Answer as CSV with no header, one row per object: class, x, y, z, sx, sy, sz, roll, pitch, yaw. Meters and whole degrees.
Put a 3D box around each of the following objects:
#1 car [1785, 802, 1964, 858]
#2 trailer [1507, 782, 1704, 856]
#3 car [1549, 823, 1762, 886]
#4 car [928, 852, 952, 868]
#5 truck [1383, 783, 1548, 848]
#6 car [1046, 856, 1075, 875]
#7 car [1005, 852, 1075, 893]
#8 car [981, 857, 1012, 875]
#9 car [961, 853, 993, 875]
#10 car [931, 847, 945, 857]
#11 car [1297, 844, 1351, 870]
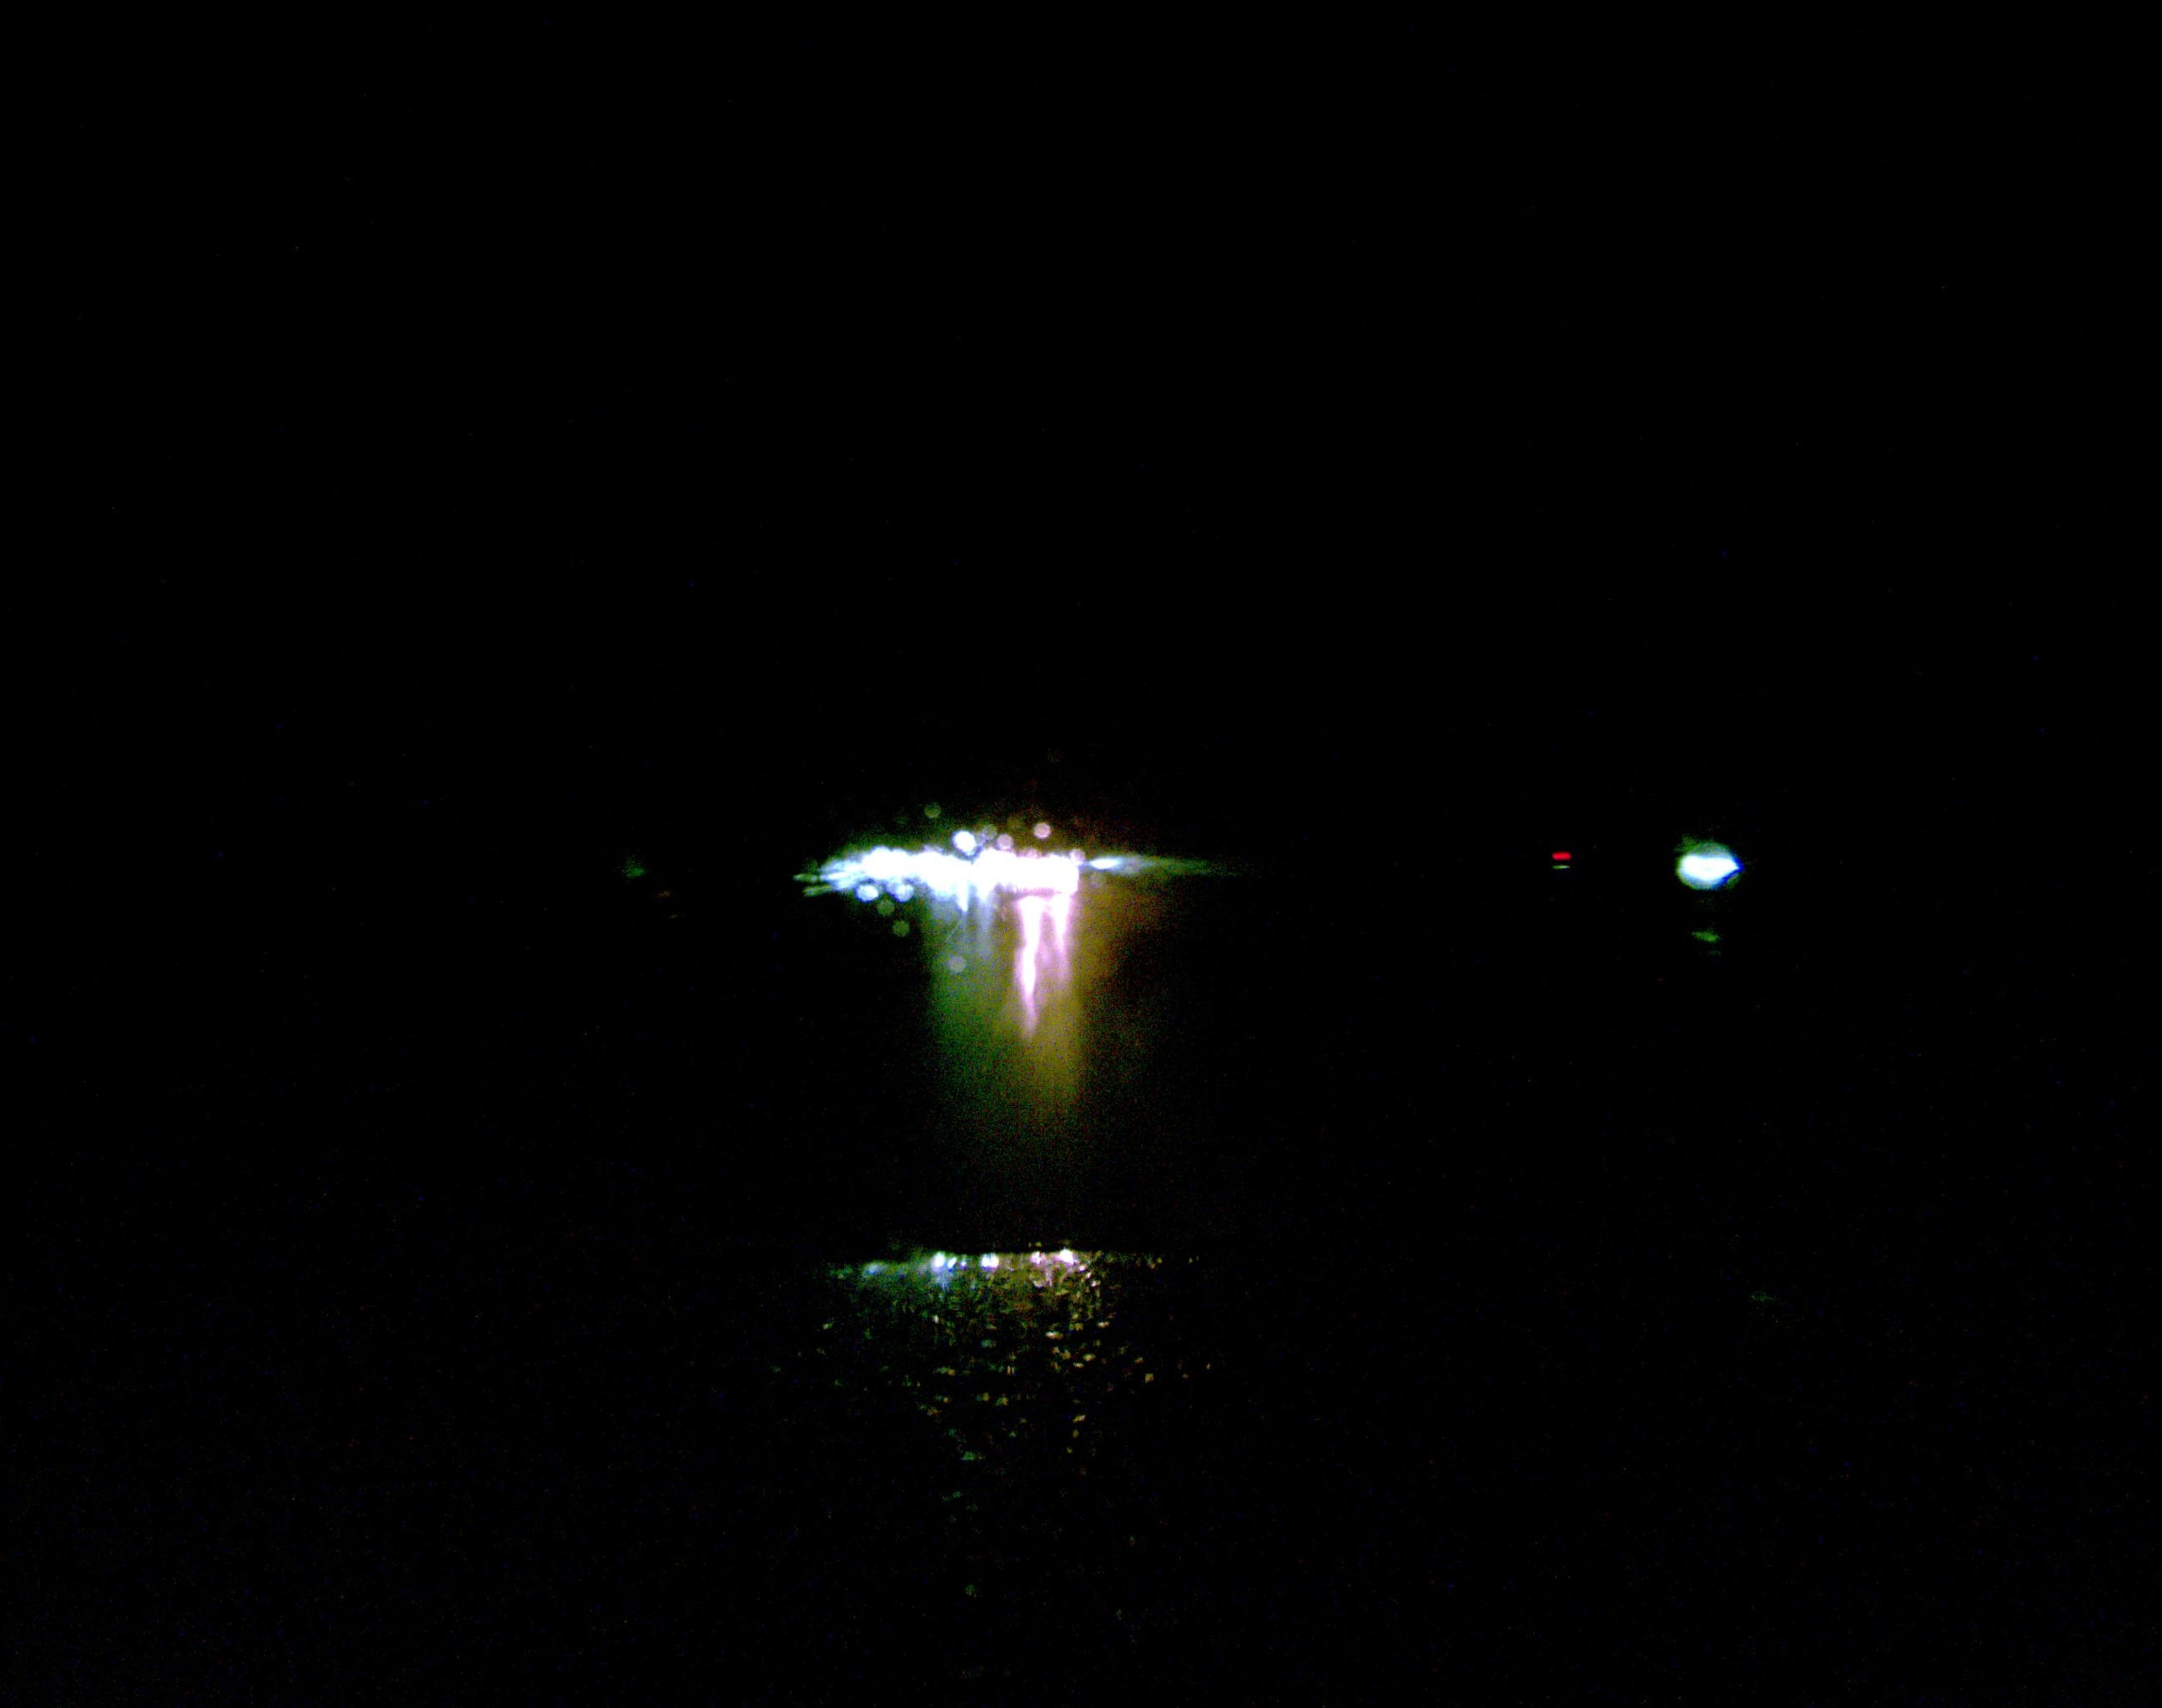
car,28.194,-0.828,27.175,1.911,1.797,3.993,-3,1,-18
trailer,27.797,-1.720,40.955,2.636,3.490,8.874,-3,1,-19
car,16.390,-0.014,22.015,2.001,1.552,4.580,-3,1,-17
car,-14.054,0.578,75.756,1.816,1.477,3.576,-3,1,-19
truck,24.739,-2.325,49.910,2.636,3.672,10.845,-3,1,-19
car,-2.192,1.221,80.471,2.001,1.797,3.994,-3,1,-17
car,-1.869,0.814,32.928,2.001,1.542,3.995,-3,-1,-18
car,-8.075,1.086,72.477,2.001,1.552,4.580,-3,1,-17
car,-7.805,0.684,56.665,1.815,1.477,3.577,-3,1,-15
car,-26.122,-0.416,138.841,2.001,1.797,3.994,-3,1,-17
car,18.545,0.192,58.091,1.911,1.797,3.993,-3,1,-18
